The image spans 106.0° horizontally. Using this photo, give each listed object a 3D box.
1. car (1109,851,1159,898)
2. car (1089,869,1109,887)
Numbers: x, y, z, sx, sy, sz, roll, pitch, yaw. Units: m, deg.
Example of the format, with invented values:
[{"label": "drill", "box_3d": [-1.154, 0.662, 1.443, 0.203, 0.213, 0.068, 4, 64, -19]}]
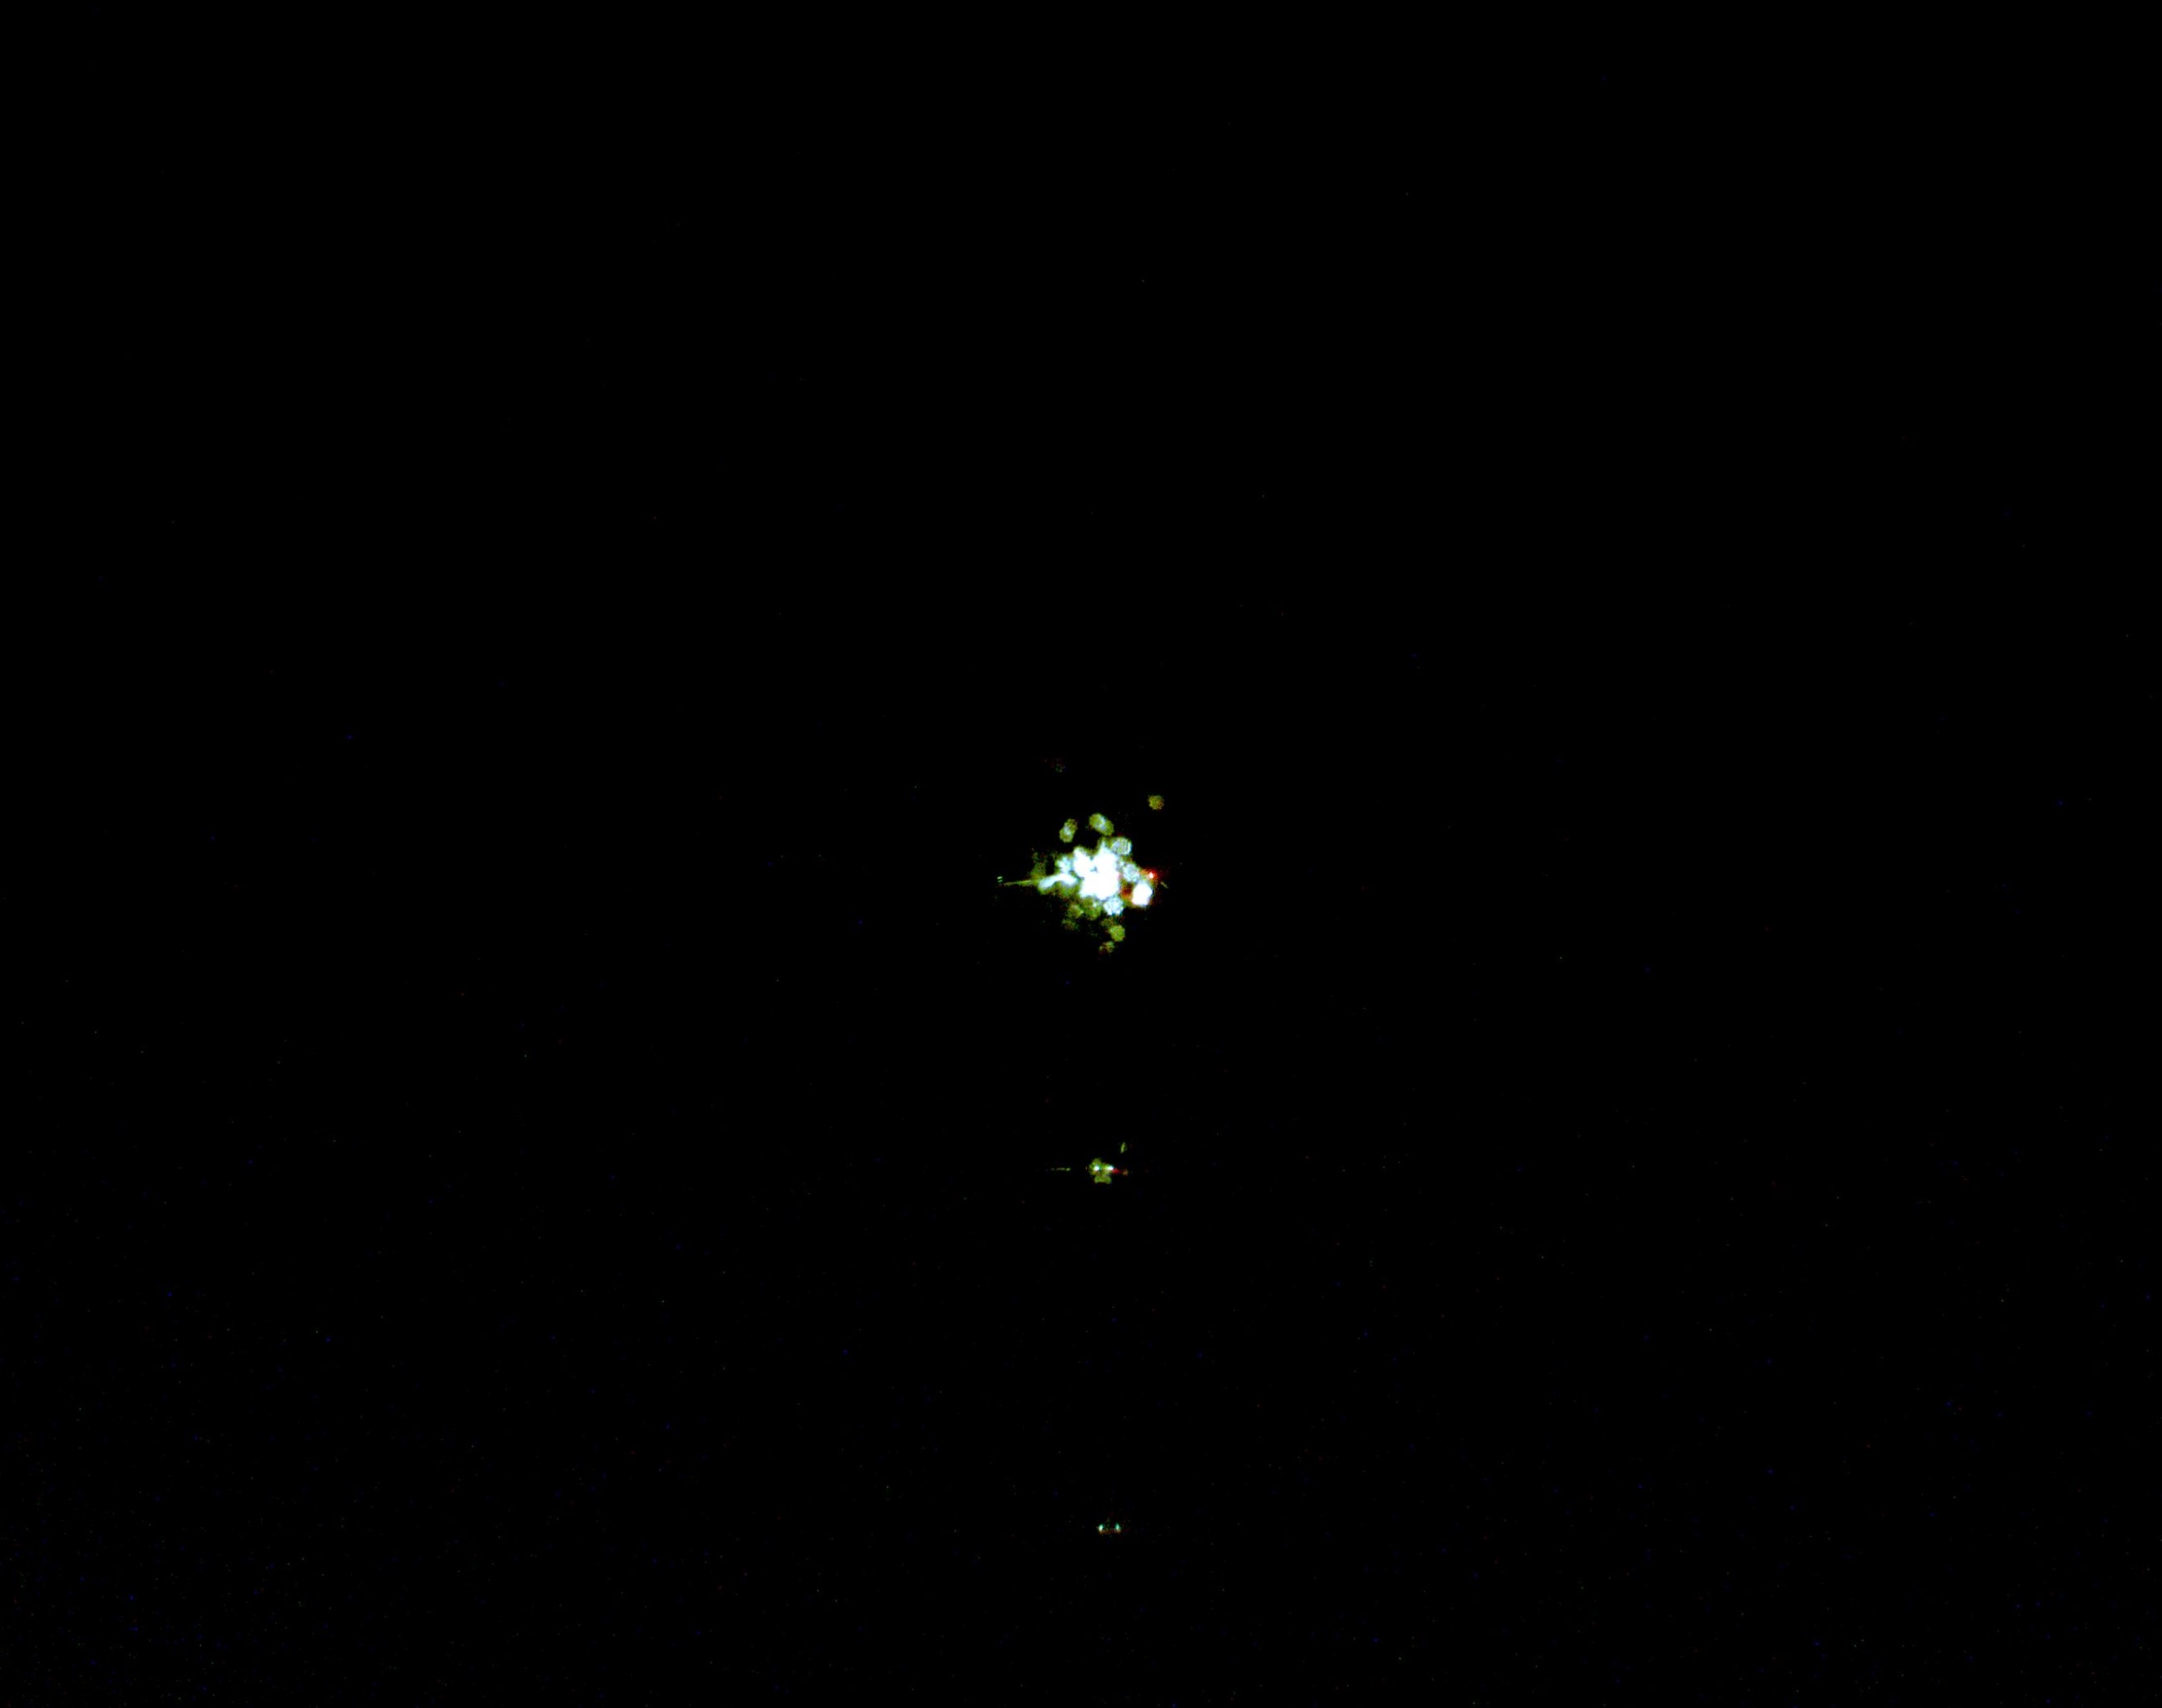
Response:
[{"label": "car", "box_3d": [2.304, 0.864, 36.482, 1.986, 1.806, 3.918, -3, 1, 1]}, {"label": "car", "box_3d": [1.931, 2.514, 85.911, 1.791, 1.580, 4.463, -4, 0, 5]}]
